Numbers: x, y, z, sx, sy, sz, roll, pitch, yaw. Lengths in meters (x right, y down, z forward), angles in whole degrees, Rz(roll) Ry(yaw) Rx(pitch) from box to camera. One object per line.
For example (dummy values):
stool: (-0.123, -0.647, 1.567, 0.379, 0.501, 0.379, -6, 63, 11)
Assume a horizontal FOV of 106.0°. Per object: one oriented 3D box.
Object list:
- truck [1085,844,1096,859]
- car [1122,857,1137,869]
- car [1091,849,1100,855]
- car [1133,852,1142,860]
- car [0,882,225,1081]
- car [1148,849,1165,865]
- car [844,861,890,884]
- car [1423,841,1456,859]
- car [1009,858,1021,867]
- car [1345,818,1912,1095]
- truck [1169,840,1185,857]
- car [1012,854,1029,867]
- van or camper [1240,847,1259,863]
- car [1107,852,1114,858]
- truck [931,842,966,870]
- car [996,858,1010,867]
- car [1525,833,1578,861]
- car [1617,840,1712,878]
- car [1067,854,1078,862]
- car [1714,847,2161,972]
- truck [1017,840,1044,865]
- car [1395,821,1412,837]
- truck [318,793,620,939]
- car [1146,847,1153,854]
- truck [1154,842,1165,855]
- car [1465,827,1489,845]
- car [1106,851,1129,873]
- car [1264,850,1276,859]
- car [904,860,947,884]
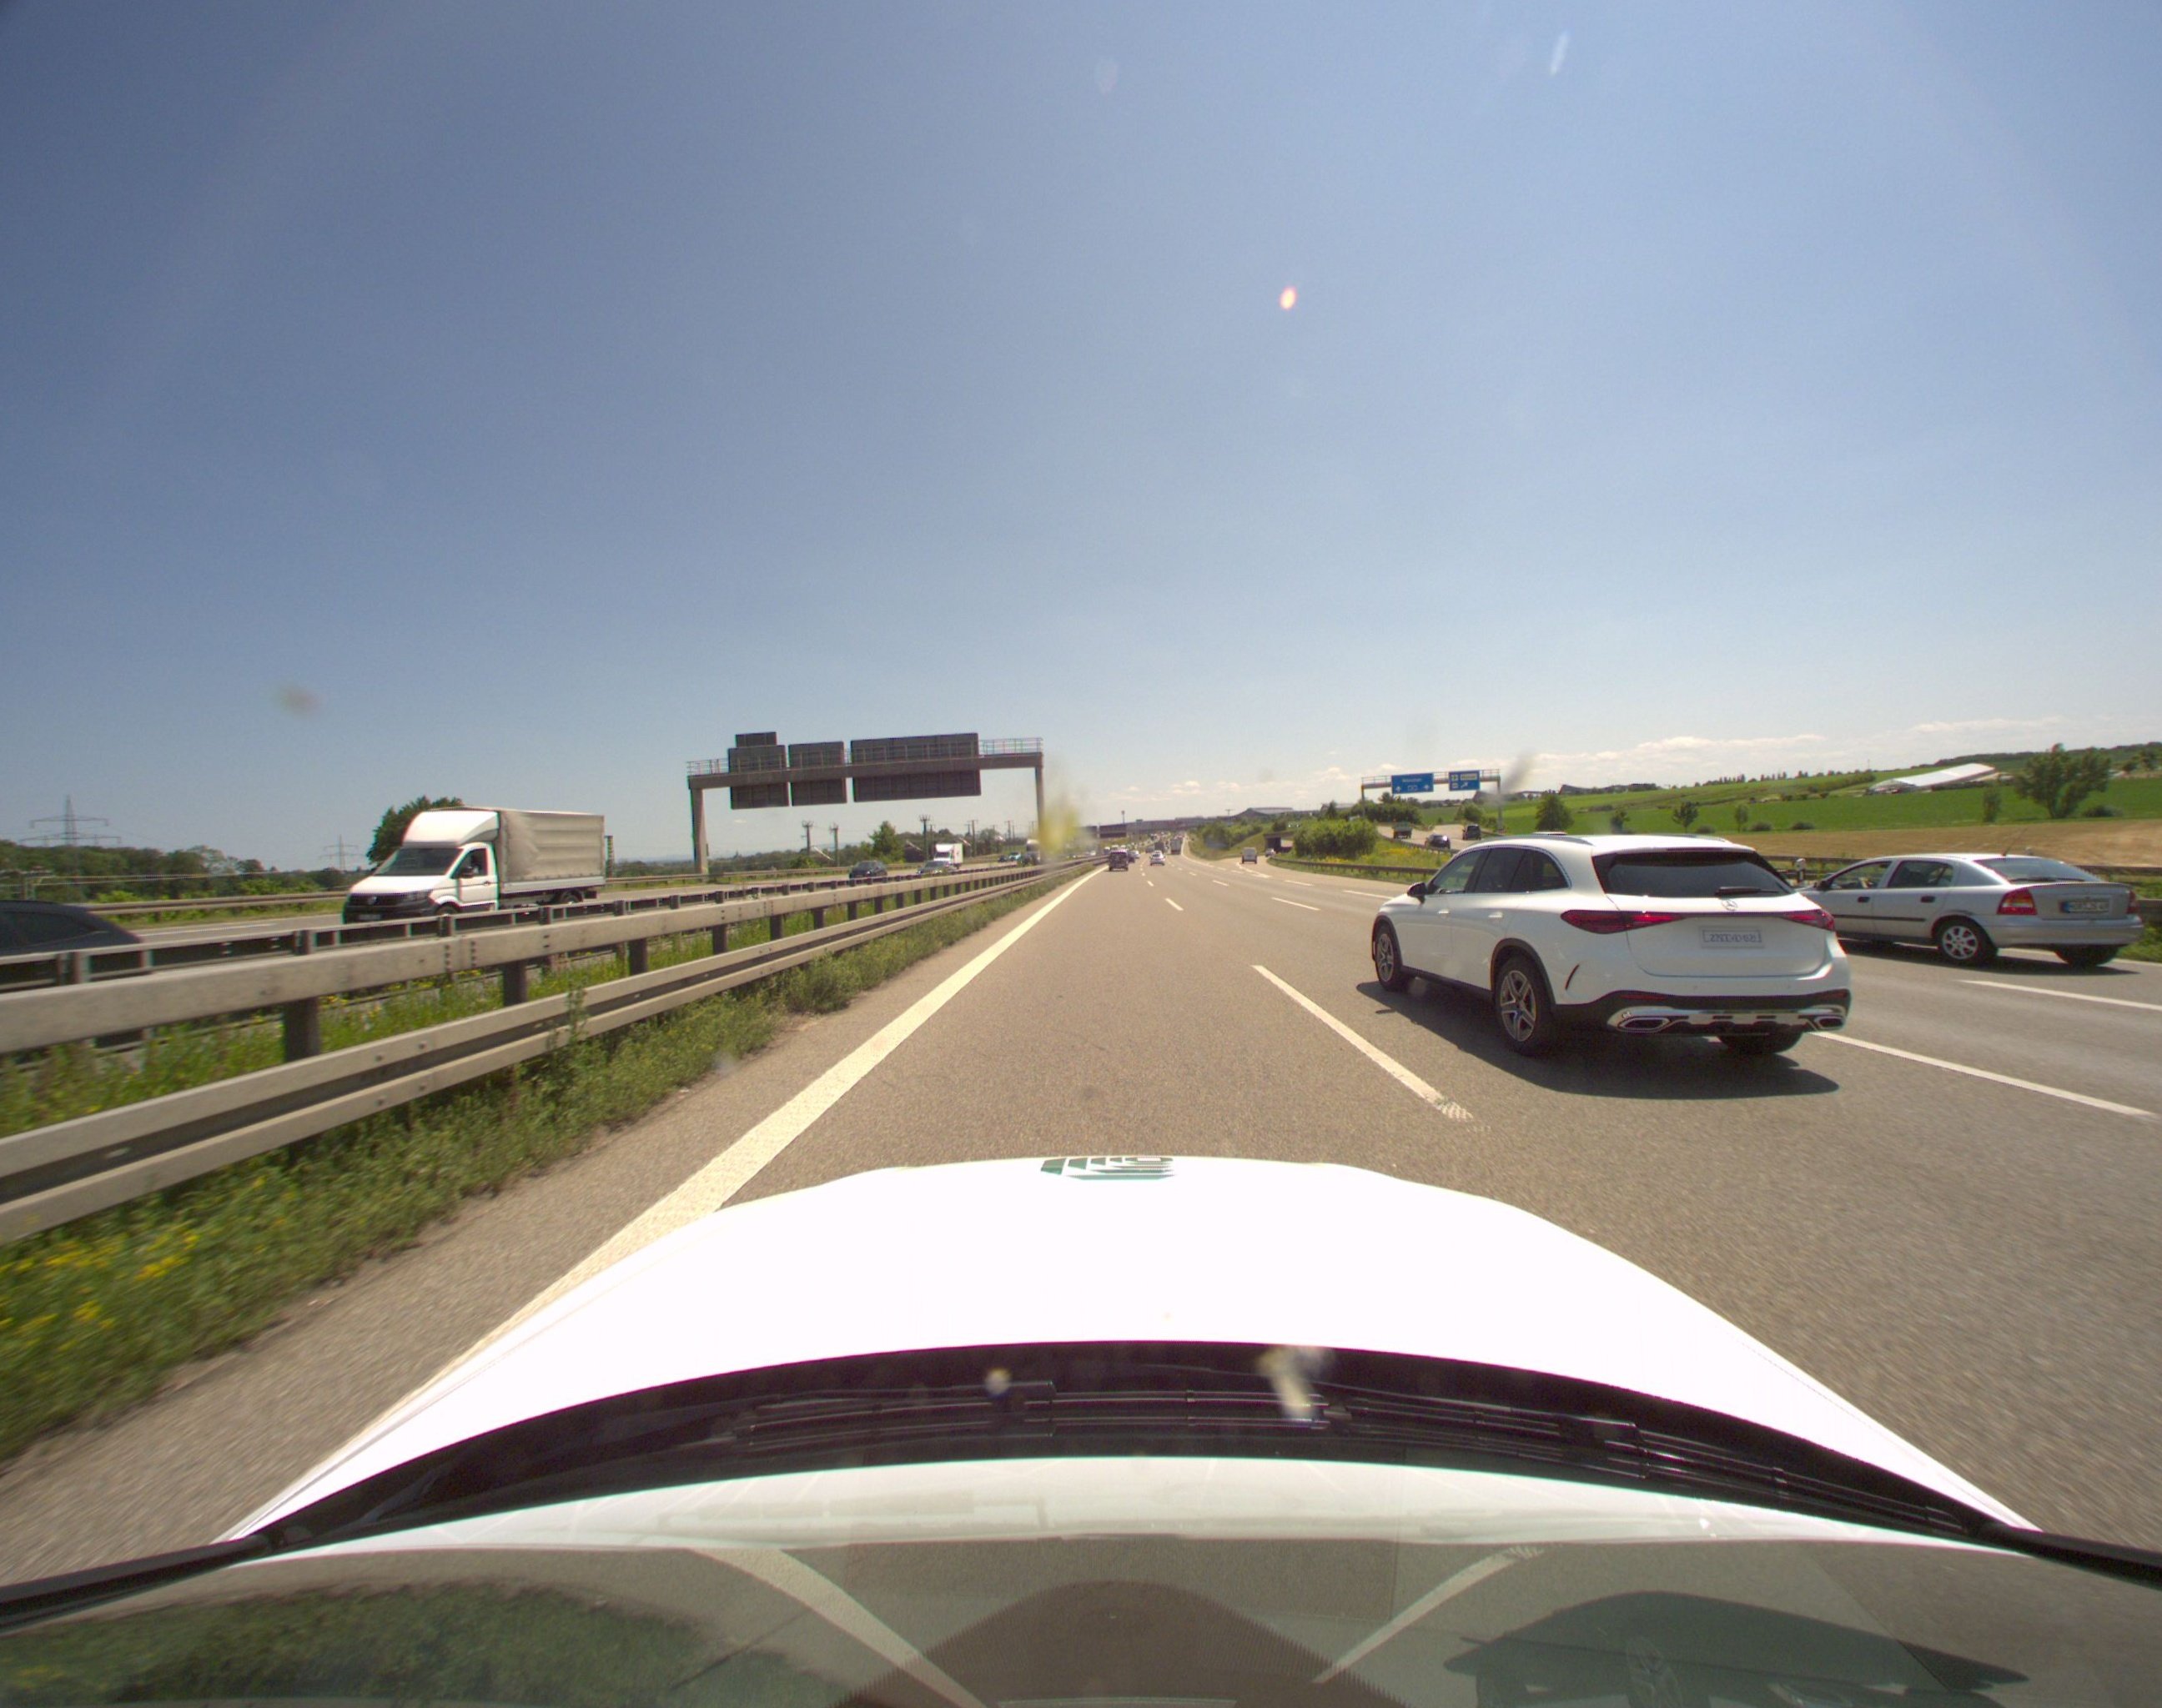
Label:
truck: (2.895, -0.710, 243.503, 2.747, 4.245, 6.984, -1, -1, 4)
car: (7.048, 1.349, 117.954, 1.917, 1.627, 4.524, -1, -1, 5)
car: (3.421, -0.420, 187.600, 1.833, 1.460, 5.002, -1, 0, 4)
car: (10.660, 0.426, 154.049, 1.568, 1.552, 3.970, -1, -1, 6)
car: (-9.920, 1.092, 6.144, 1.742, 1.625, 4.831, -1, -1, 1)
car: (9.012, 0.397, 97.671, 1.918, 1.919, 4.522, -1, -1, 4)
car: (-14.700, 1.233, 56.085, 1.897, 1.420, 4.003, -1, 0, 3)
car: (33.884, -0.391, 77.067, 1.981, 1.596, 4.010, -1, -1, 9)
car: (-13.064, 1.700, 160.908, 1.796, 1.749, 4.005, -1, -1, 5)
car: (4.123, 0.654, 7.441, 1.891, 1.647, 4.999, -1, -1, 1)
truck: (25.067, -1.514, 213.294, 4.019, 4.261, 11.777, -1, 2, 5)
car: (-7.930, 0.858, 106.567, 1.735, 1.561, 4.003, -1, 0, 3)
van or camper: (21.263, 0.131, 102.474, 2.140, 2.014, 4.320, -1, -1, 14)
car: (8.481, 0.299, 231.454, 1.748, 1.741, 4.727, -1, 0, 4)
truck: (-15.629, 0.251, 96.307, 2.310, 3.167, 8.120, -1, 0, 3)
car: (-14.311, 1.558, 149.524, 1.796, 1.749, 4.005, -1, -1, 5)
car: (34.373, -0.454, 59.637, 1.927, 1.923, 4.189, -1, -1, 9)
car: (25.649, 0.234, 35.974, 1.690, 1.575, 4.137, -1, -1, 8)
car: (-1.838, 0.860, 169.210, 1.833, 1.460, 5.002, -1, 0, 4)
car: (12.011, 0.686, 11.956, 1.779, 1.437, 4.849, -1, -1, 2)
truck: (-8.728, -0.234, 141.605, 3.232, 4.209, 7.705, -1, 0, 6)
car: (43.275, -3.325, 109.149, 1.976, 2.014, 4.022, -1, -1, 23)
truck: (-16.054, 0.314, 22.320, 2.367, 3.277, 7.661, -1, -1, 1)
car: (20.656, -1.080, 245.921, 2.176, 2.003, 4.004, -1, 0, 4)
truck: (20.416, -1.309, 211.162, 2.689, 3.109, 10.674, -1, -1, 5)
car: (46.794, -2.123, 96.314, 1.923, 1.923, 4.198, -1, -1, 18)
car: (3.356, 0.718, 74.106, 1.918, 1.919, 4.953, -1, -1, 4)
car: (40.479, 0.122, 174.221, 1.977, 1.750, 4.019, -1, -1, 19)
car: (-10.488, 1.161, 55.286, 1.782, 1.464, 4.863, -1, 0, 3)
